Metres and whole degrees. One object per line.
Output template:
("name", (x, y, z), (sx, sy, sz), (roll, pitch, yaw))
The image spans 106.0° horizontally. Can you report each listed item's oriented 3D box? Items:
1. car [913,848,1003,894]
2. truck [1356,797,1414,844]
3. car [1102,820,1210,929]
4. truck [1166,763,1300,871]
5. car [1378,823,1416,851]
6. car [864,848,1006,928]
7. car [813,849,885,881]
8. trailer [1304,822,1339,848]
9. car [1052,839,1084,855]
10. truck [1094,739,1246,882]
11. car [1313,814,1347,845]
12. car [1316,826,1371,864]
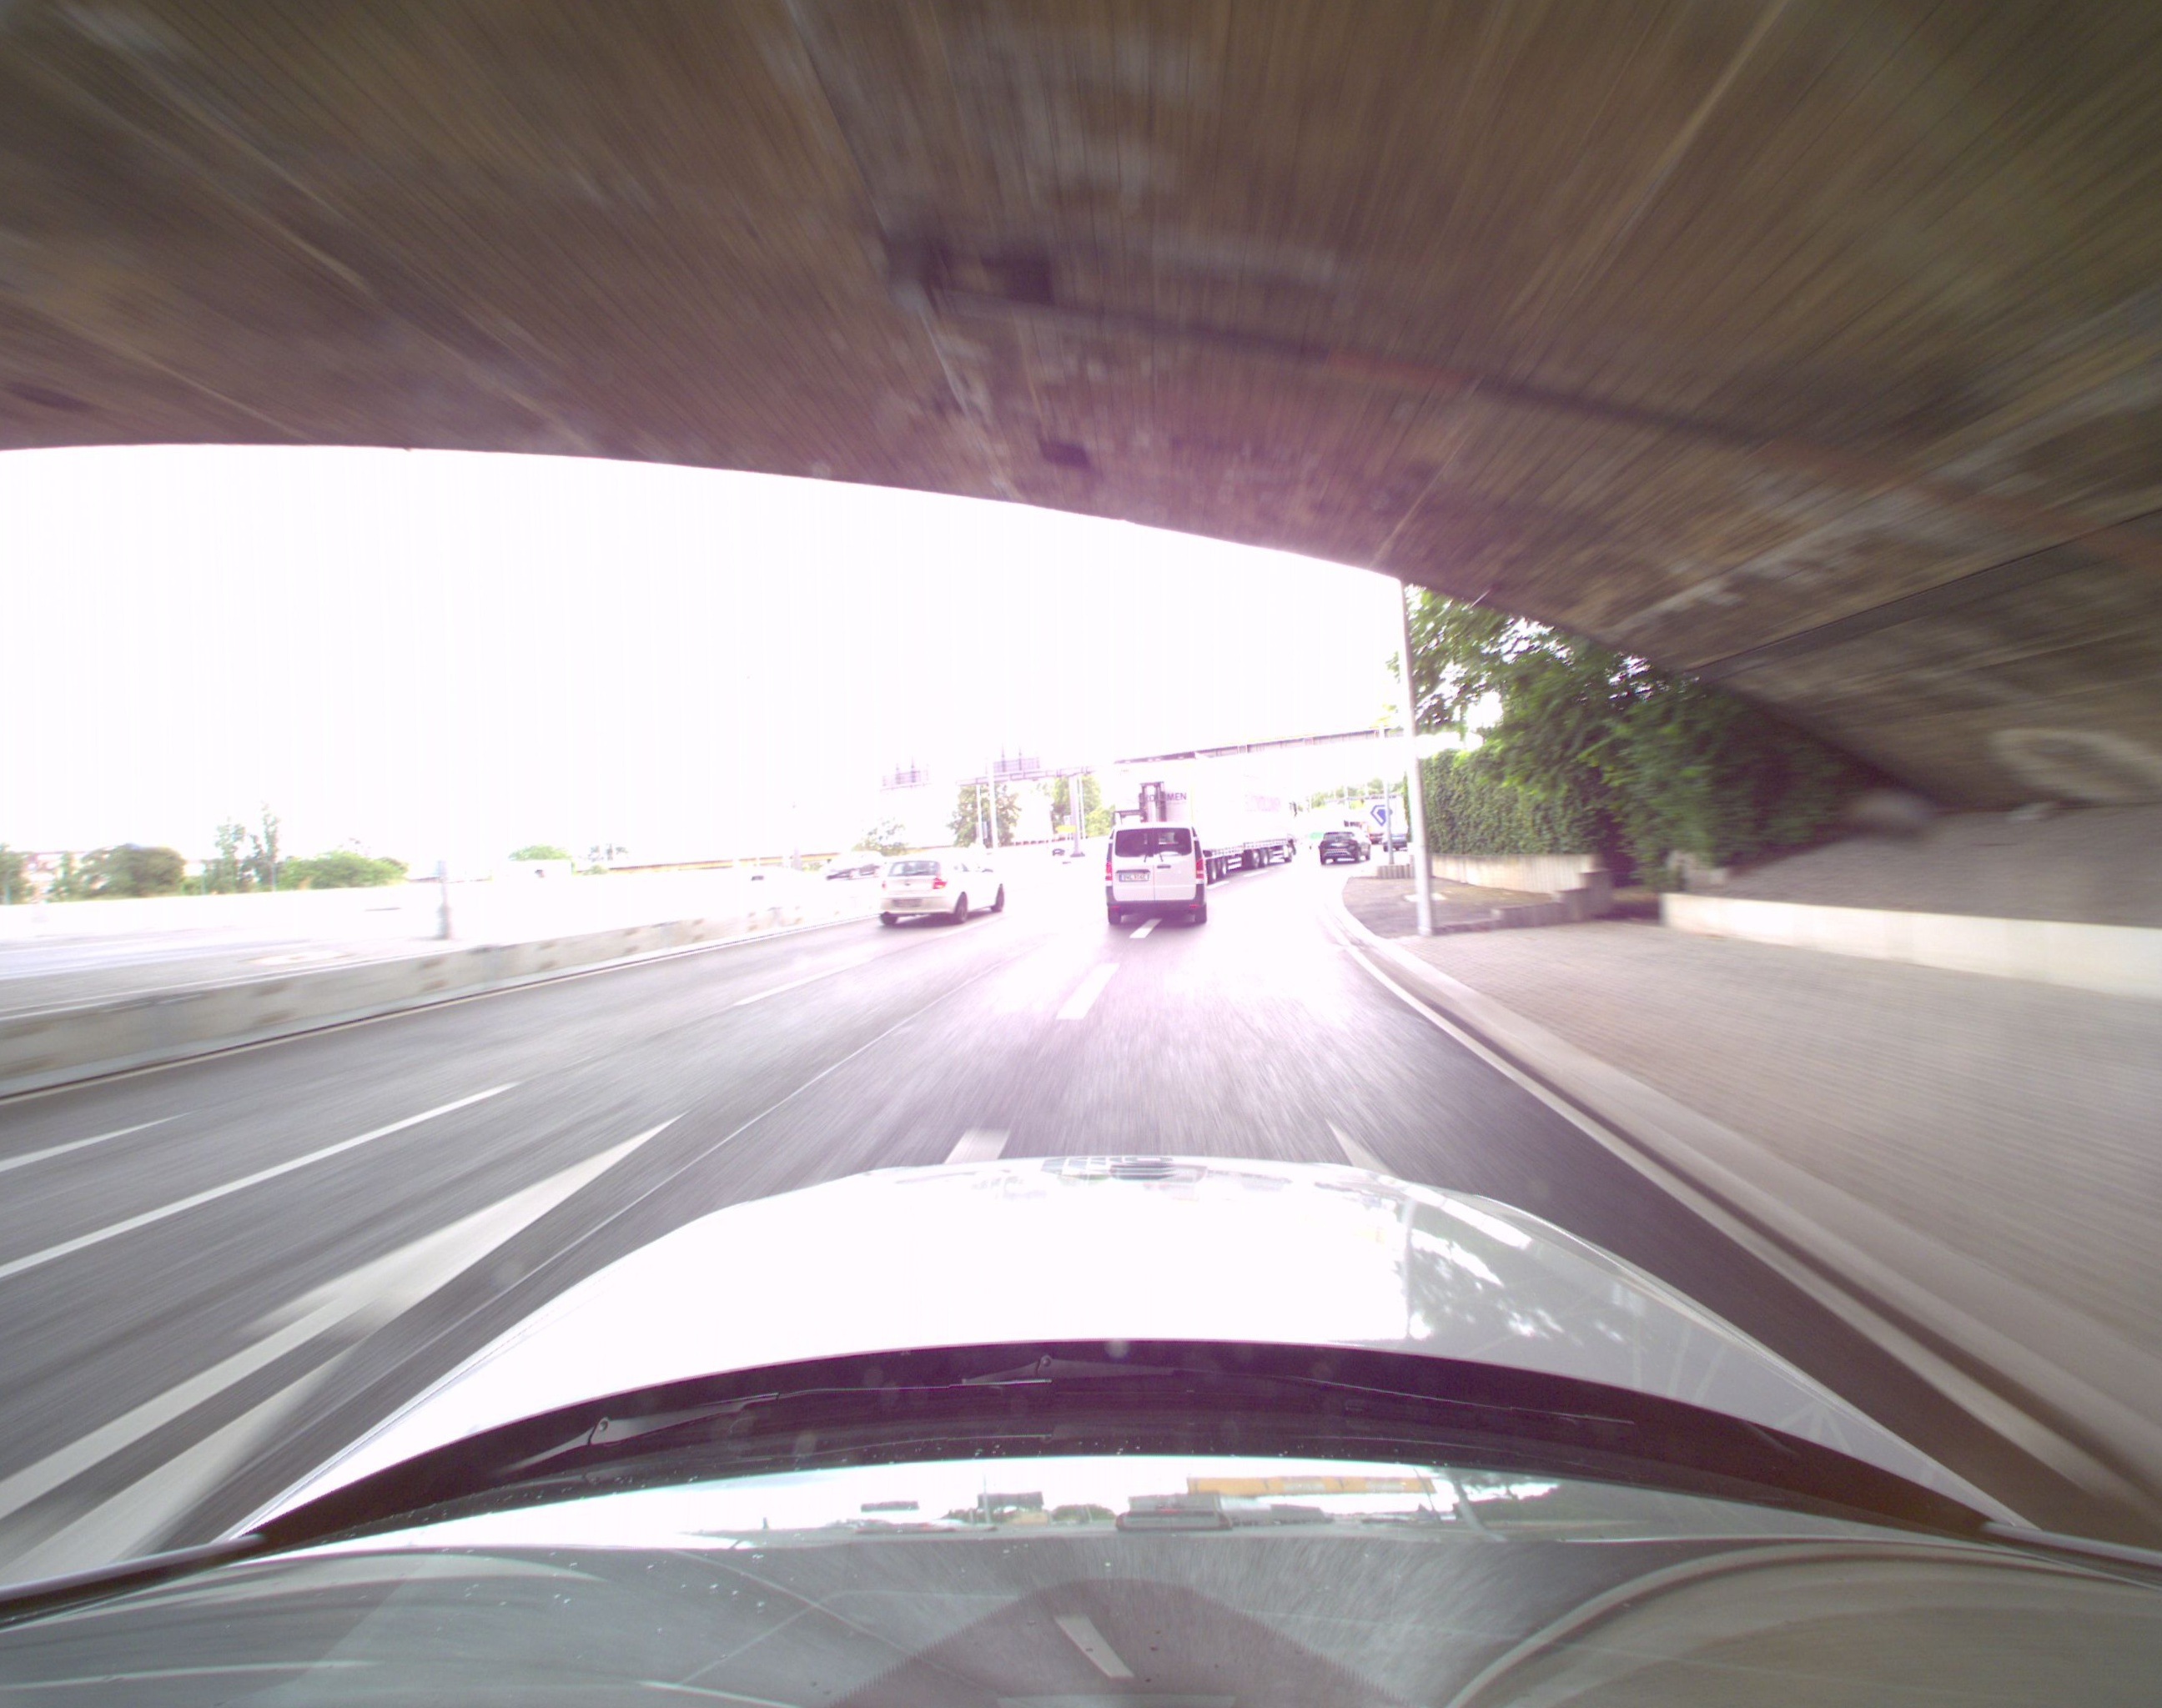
("car", (-4.293, 0.552, 29.031), (1.564, 1.484, 4.015), (-2, 0, 17))
("truck", (28.860, -3.076, 76.658), (3.286, 3.809, 16.694), (-2, 1, 27))
("car", (1.614, 0.308, 16.827), (1.866, 1.891, 4.763), (-1, 1, 7))
("truck", (7.409, -1.570, 37.819), (2.960, 4.176, 11.308), (-2, 0, 26))
("car", (18.404, -1.004, 47.314), (1.486, 1.469, 3.420), (-3, 0, 30))
("car", (-2.980, 0.643, 17.488), (1.628, 1.433, 3.995), (-1, 1, 11))
("car", (-12.833, 0.570, 45.346), (1.721, 1.581, 4.169), (-3, 0, 19))
("trailer", (19.471, -1.557, 65.890), (1.975, 1.957, 4.103), (-2, 1, 26))
("car", (-1.365, -0.821, 89.627), (1.977, 1.581, 4.534), (-3, 0, 19))
("truck", (3.521, -1.319, 28.571), (2.893, 4.017, 10.251), (-2, 0, 19))
("car", (21.400, -2.120, 69.877), (1.975, 2.541, 5.205), (-2, 1, 26))
("car", (12.027, -0.440, 37.222), (1.733, 1.625, 3.868), (-1, 1, 27))
